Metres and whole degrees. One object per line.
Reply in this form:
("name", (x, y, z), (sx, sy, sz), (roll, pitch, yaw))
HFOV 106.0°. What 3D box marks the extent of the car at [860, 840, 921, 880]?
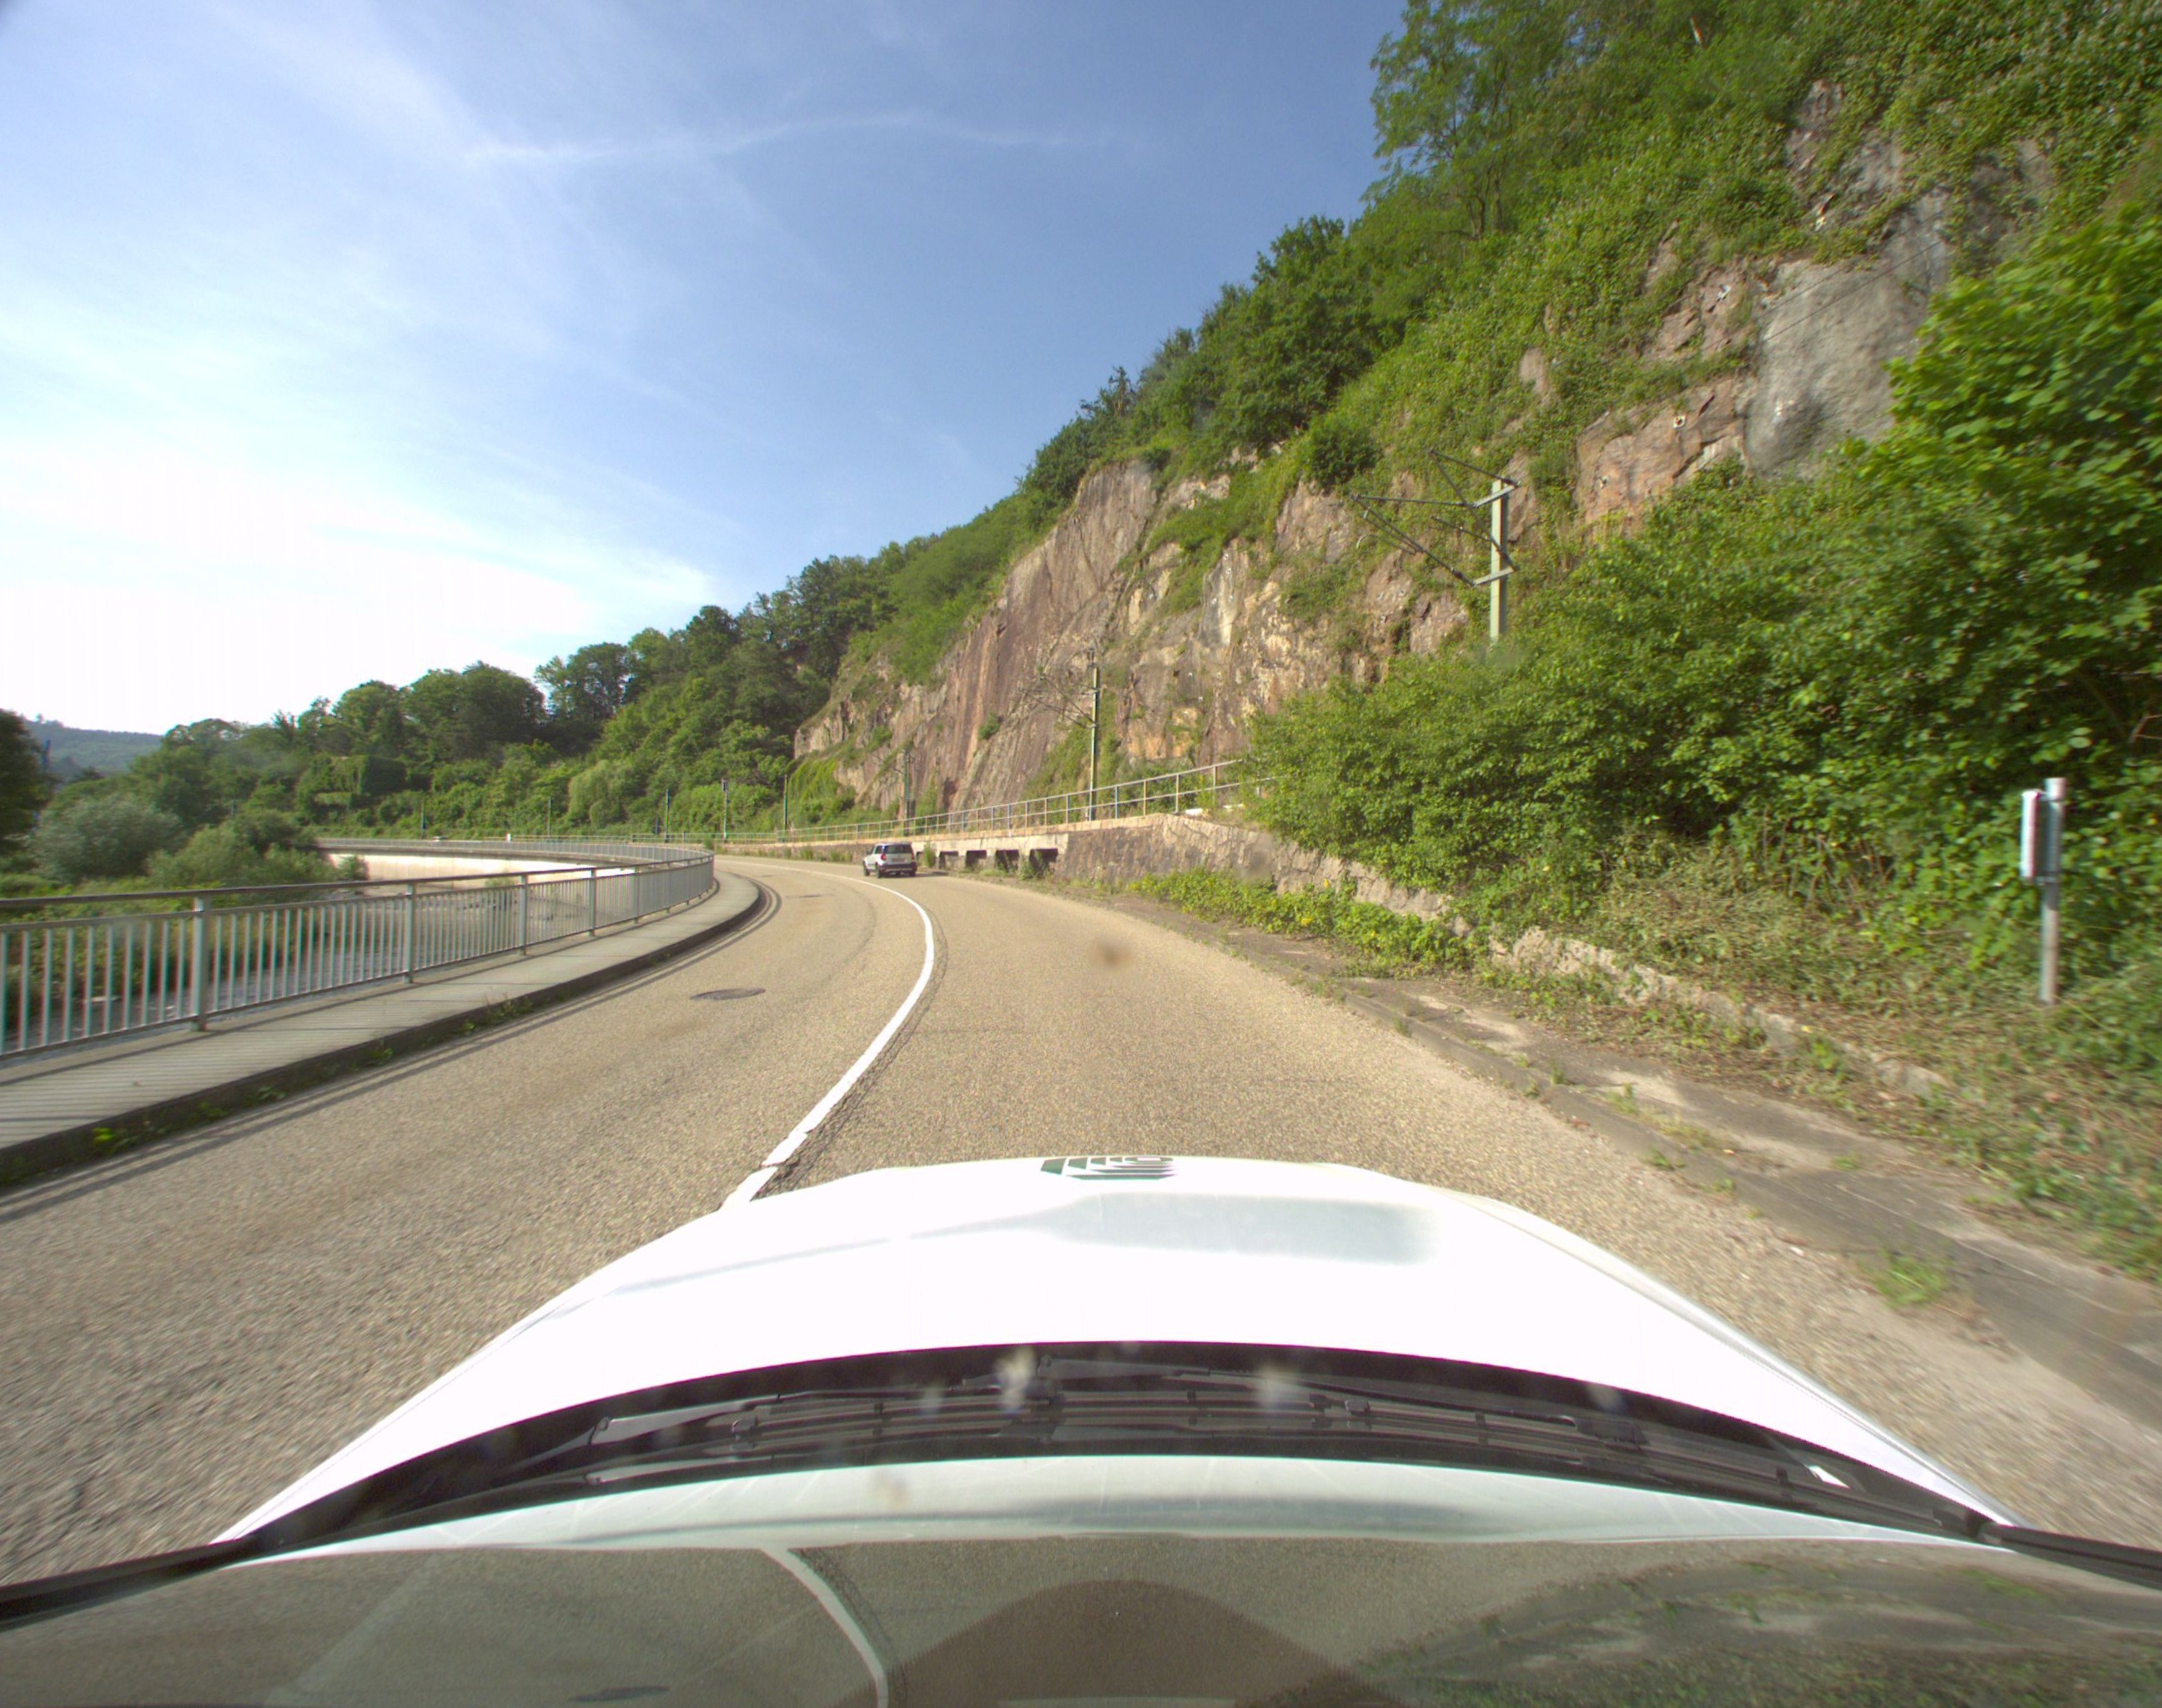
("car", (-9.021, 0.228, 38.274), (1.883, 1.655, 3.965), (-2, 2, -27))
